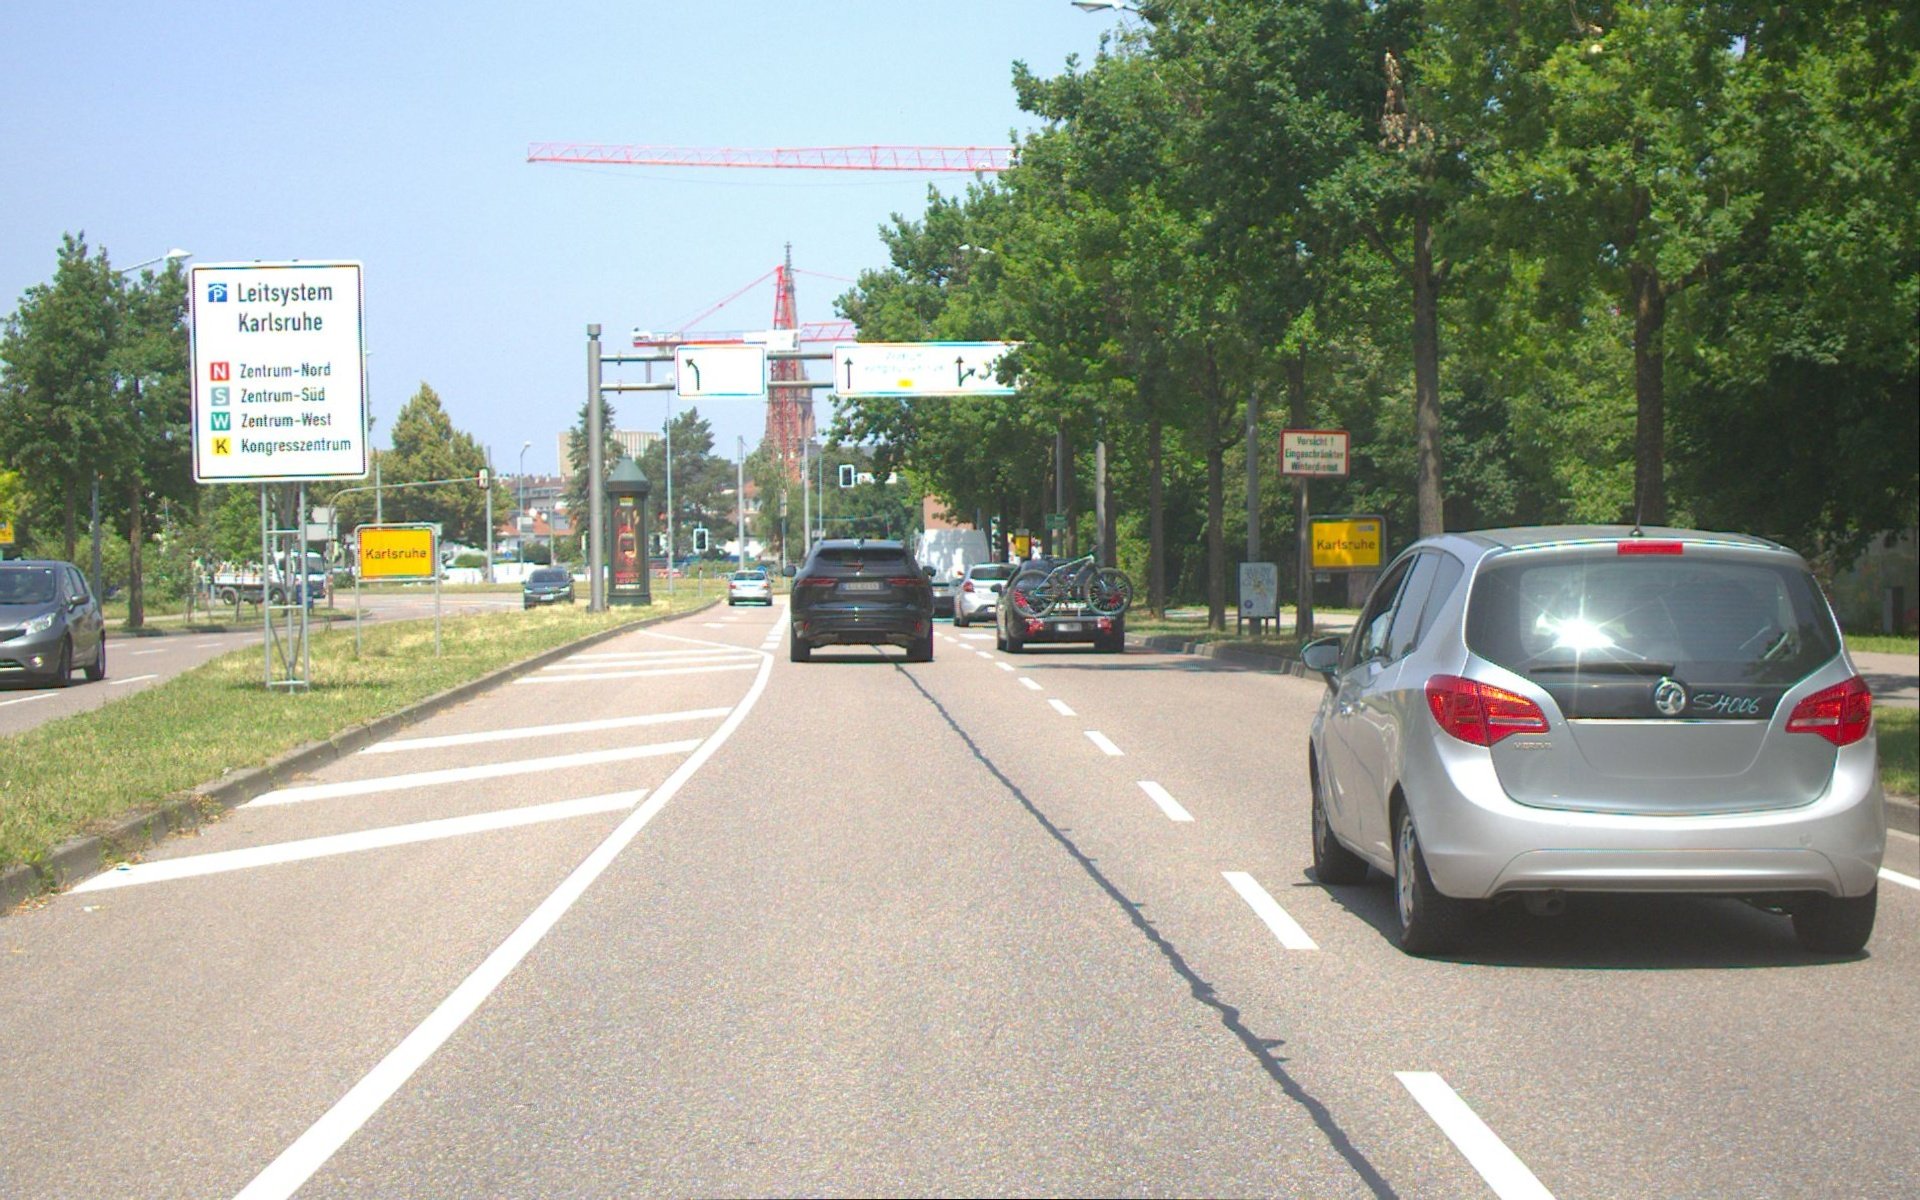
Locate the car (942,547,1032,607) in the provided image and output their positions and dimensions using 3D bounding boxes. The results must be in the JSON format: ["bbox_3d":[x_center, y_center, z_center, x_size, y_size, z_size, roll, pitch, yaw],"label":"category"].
[{"bbox_3d":[0.597,-0.547,80.797,1.654,1.351,4.461,-1,1,-5],"label":"car"}]

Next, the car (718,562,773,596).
[{"bbox_3d":[-8.784,-0.885,140.494,1.993,1.316,4.001,0,1,-7],"label":"car"}]

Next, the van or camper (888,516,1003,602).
[{"bbox_3d":[-0.445,-1.124,95.031,2.493,2.283,4.922,-1,1,-8],"label":"van or camper"}]

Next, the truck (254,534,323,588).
[{"bbox_3d":[-33.221,-1.950,170.173,2.638,2.568,6.319,-1,1,-5],"label":"truck"}]

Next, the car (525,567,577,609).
[{"bbox_3d":[-16.347,-0.482,137.465,1.892,1.605,4.535,-1,1,-5],"label":"car"}]

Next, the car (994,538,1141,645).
[{"bbox_3d":[1.573,-0.148,51.783,2.014,1.512,4.461,-1,1,-1],"label":"car"}]

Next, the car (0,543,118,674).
[{"bbox_3d":[-11.302,0.084,41.162,1.707,1.466,3.942,-2,1,-4],"label":"car"}]

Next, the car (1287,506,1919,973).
[{"bbox_3d":[2.449,0.447,13.834,1.792,1.606,3.891,0,1,-1],"label":"car"}]

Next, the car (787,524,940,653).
[{"bbox_3d":[-1.311,-0.191,47.113,1.998,1.683,4.034,0,1,-1],"label":"car"}]
